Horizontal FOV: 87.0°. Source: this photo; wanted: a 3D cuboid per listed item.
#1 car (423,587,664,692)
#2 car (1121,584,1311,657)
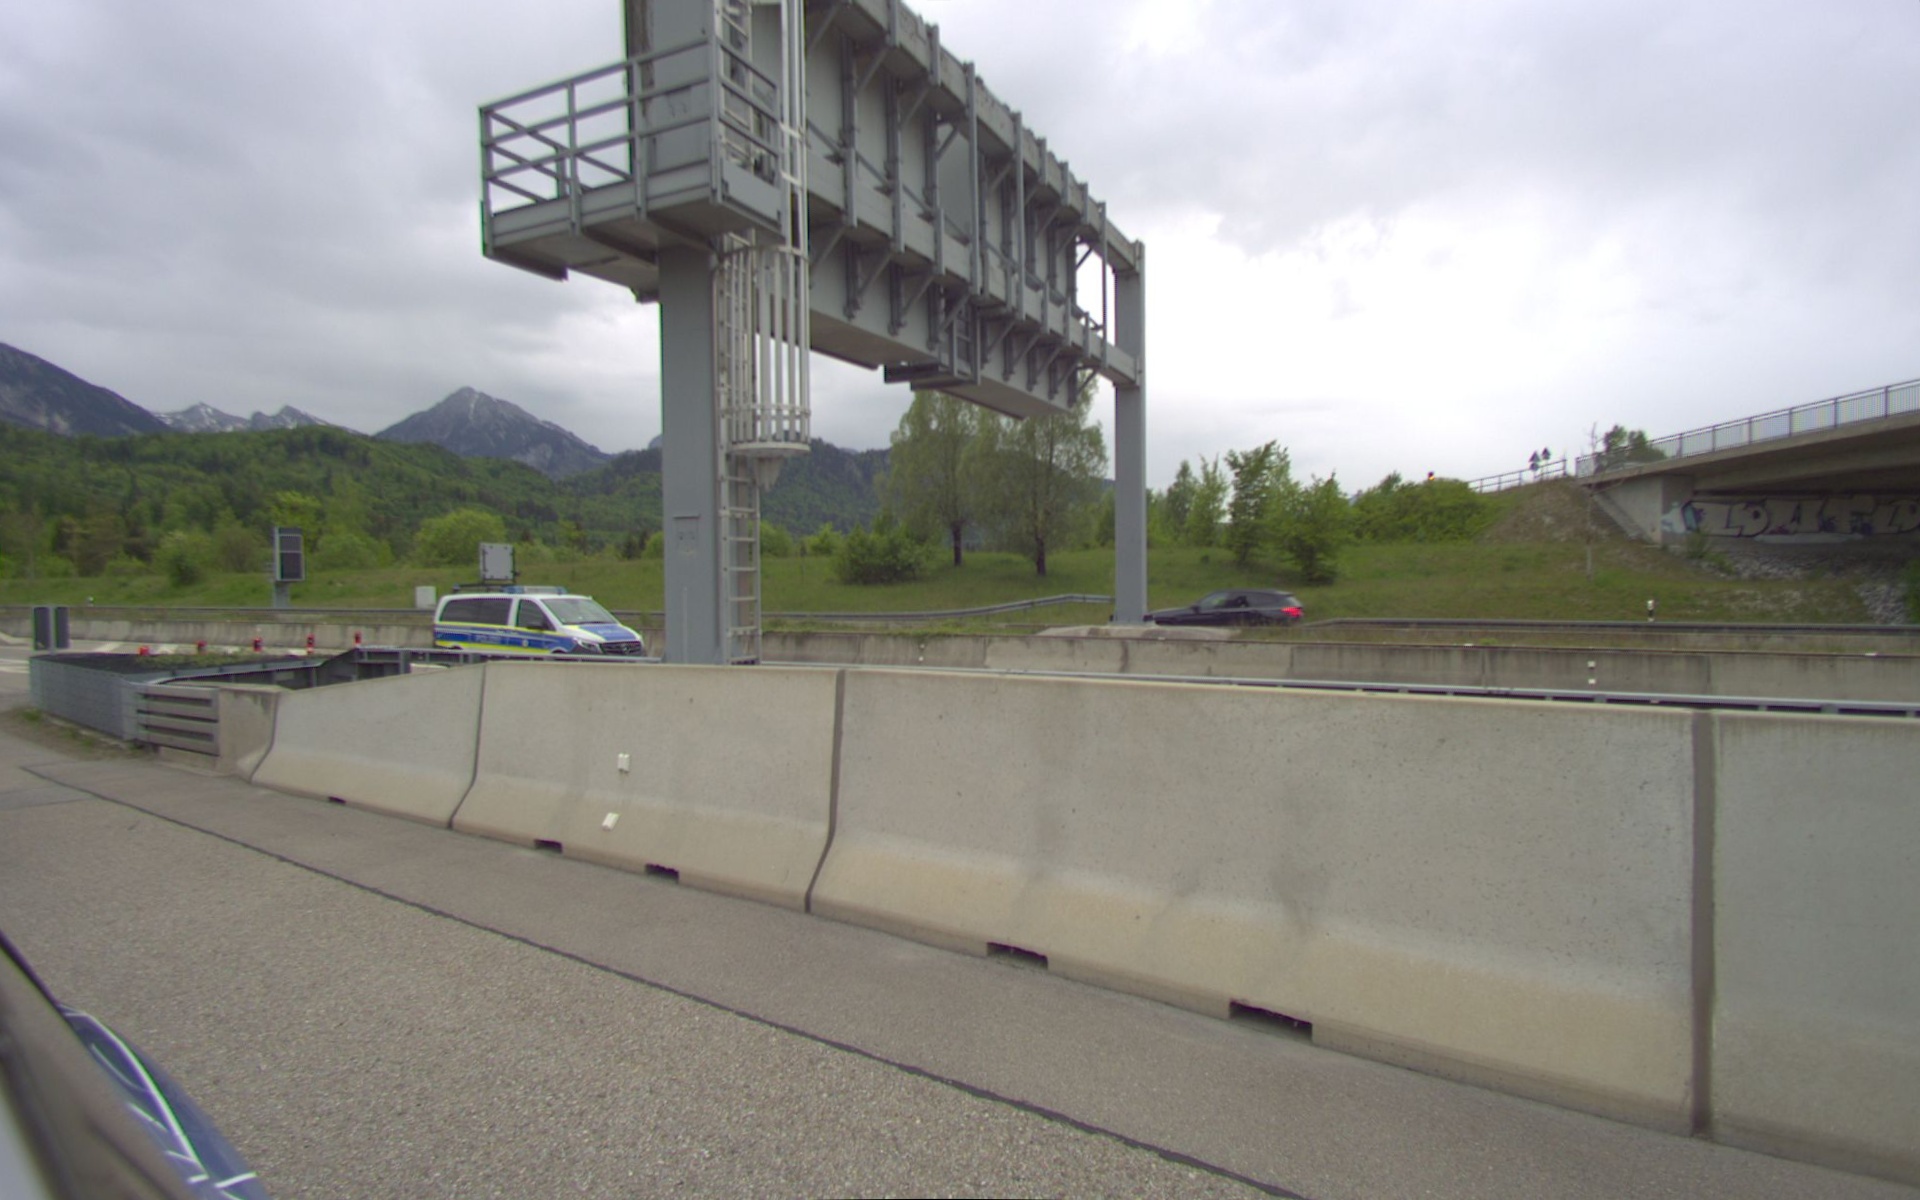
[{"bbox_3d":[-8.957,0.778,21.702,5.028,2.029,2.085,0,-1,28],"label":"car"},{"bbox_3d":[7.402,0.581,29.301,5.081,1.970,1.974,0,-1,26],"label":"car"}]
